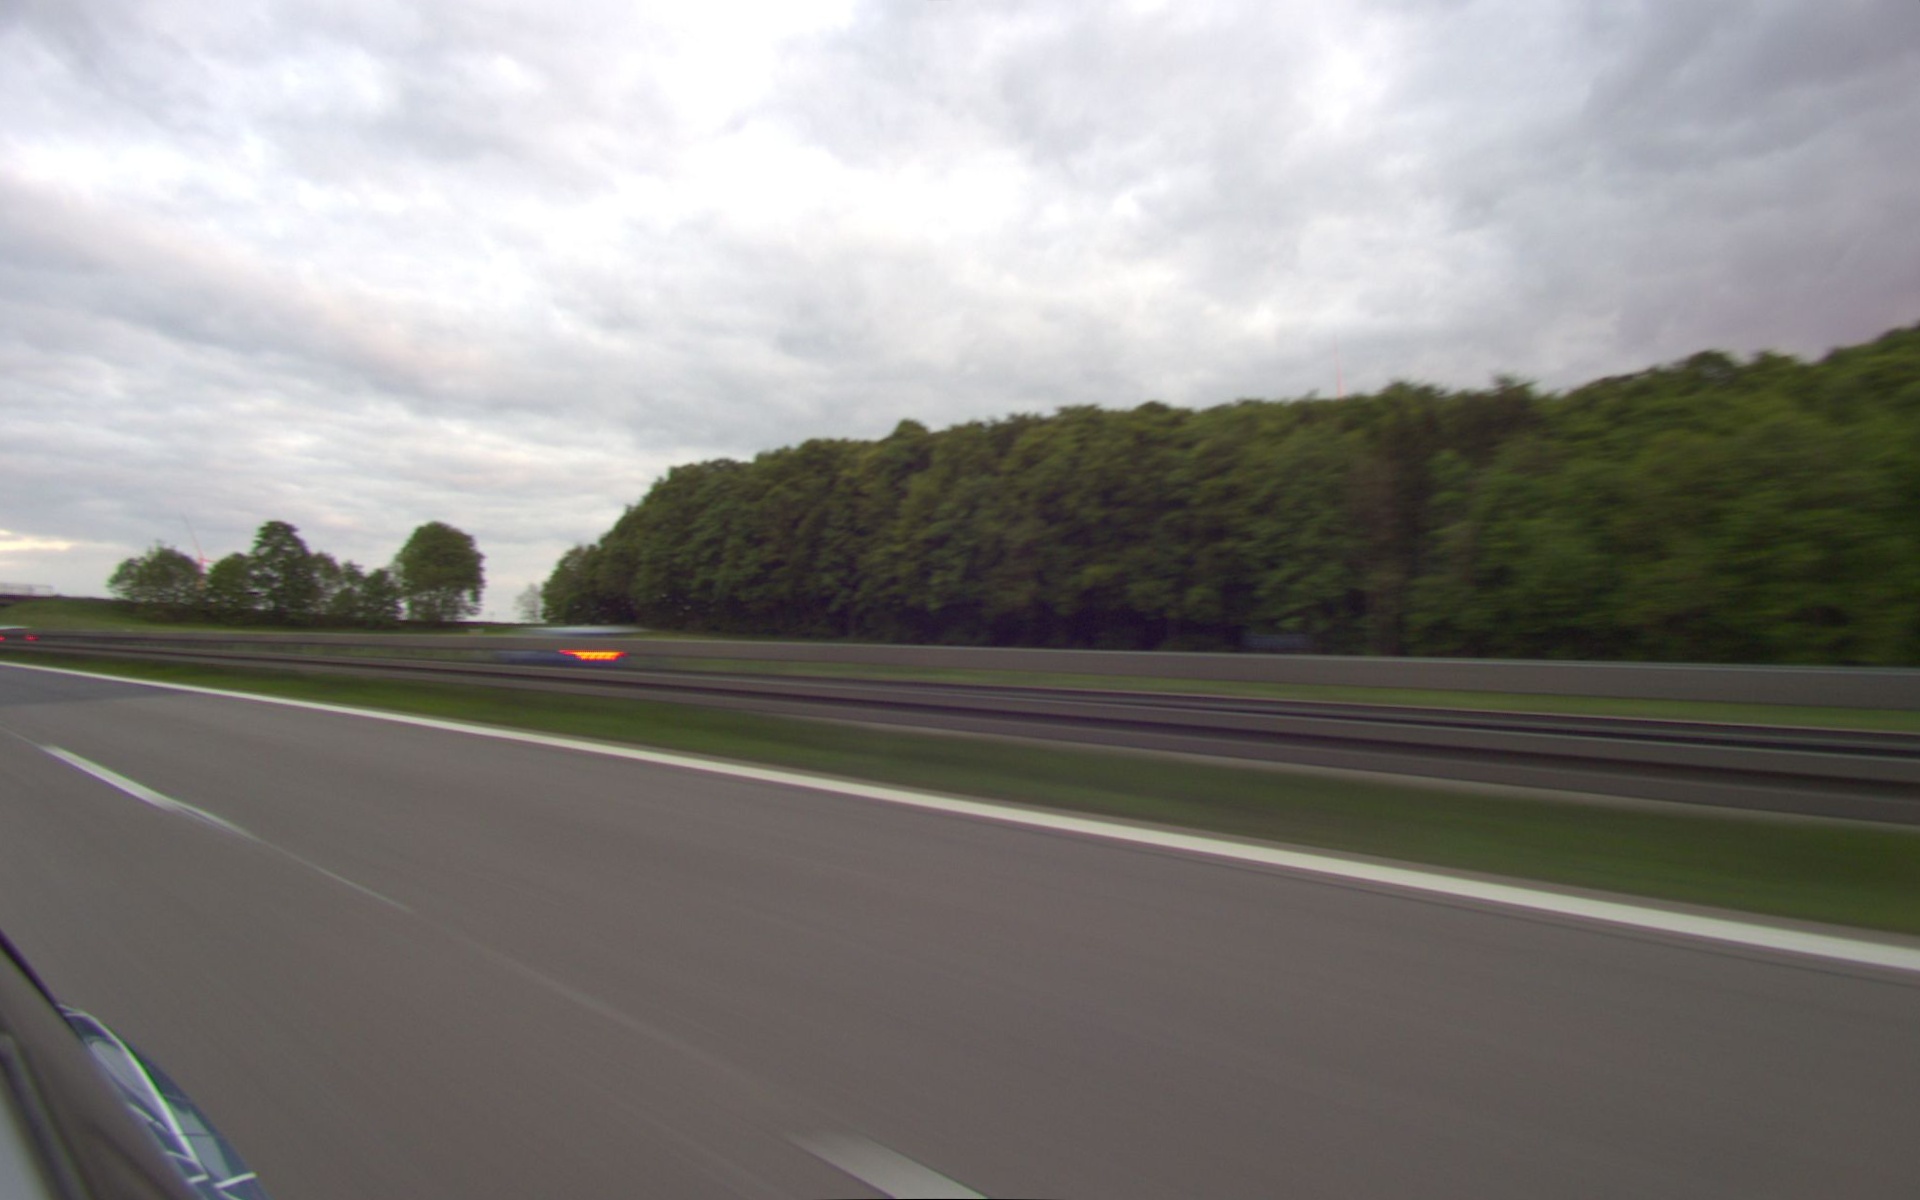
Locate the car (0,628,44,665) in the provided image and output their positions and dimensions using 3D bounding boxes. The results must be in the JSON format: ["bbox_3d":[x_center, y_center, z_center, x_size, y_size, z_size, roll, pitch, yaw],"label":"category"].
[{"bbox_3d":[-54.727,2.631,58.157,5.159,2.029,1.976,-1,-3,36],"label":"car"}]

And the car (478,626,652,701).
[{"bbox_3d":[-9.209,1.416,23.424,4.667,1.562,1.638,-1,-3,39],"label":"car"}]
